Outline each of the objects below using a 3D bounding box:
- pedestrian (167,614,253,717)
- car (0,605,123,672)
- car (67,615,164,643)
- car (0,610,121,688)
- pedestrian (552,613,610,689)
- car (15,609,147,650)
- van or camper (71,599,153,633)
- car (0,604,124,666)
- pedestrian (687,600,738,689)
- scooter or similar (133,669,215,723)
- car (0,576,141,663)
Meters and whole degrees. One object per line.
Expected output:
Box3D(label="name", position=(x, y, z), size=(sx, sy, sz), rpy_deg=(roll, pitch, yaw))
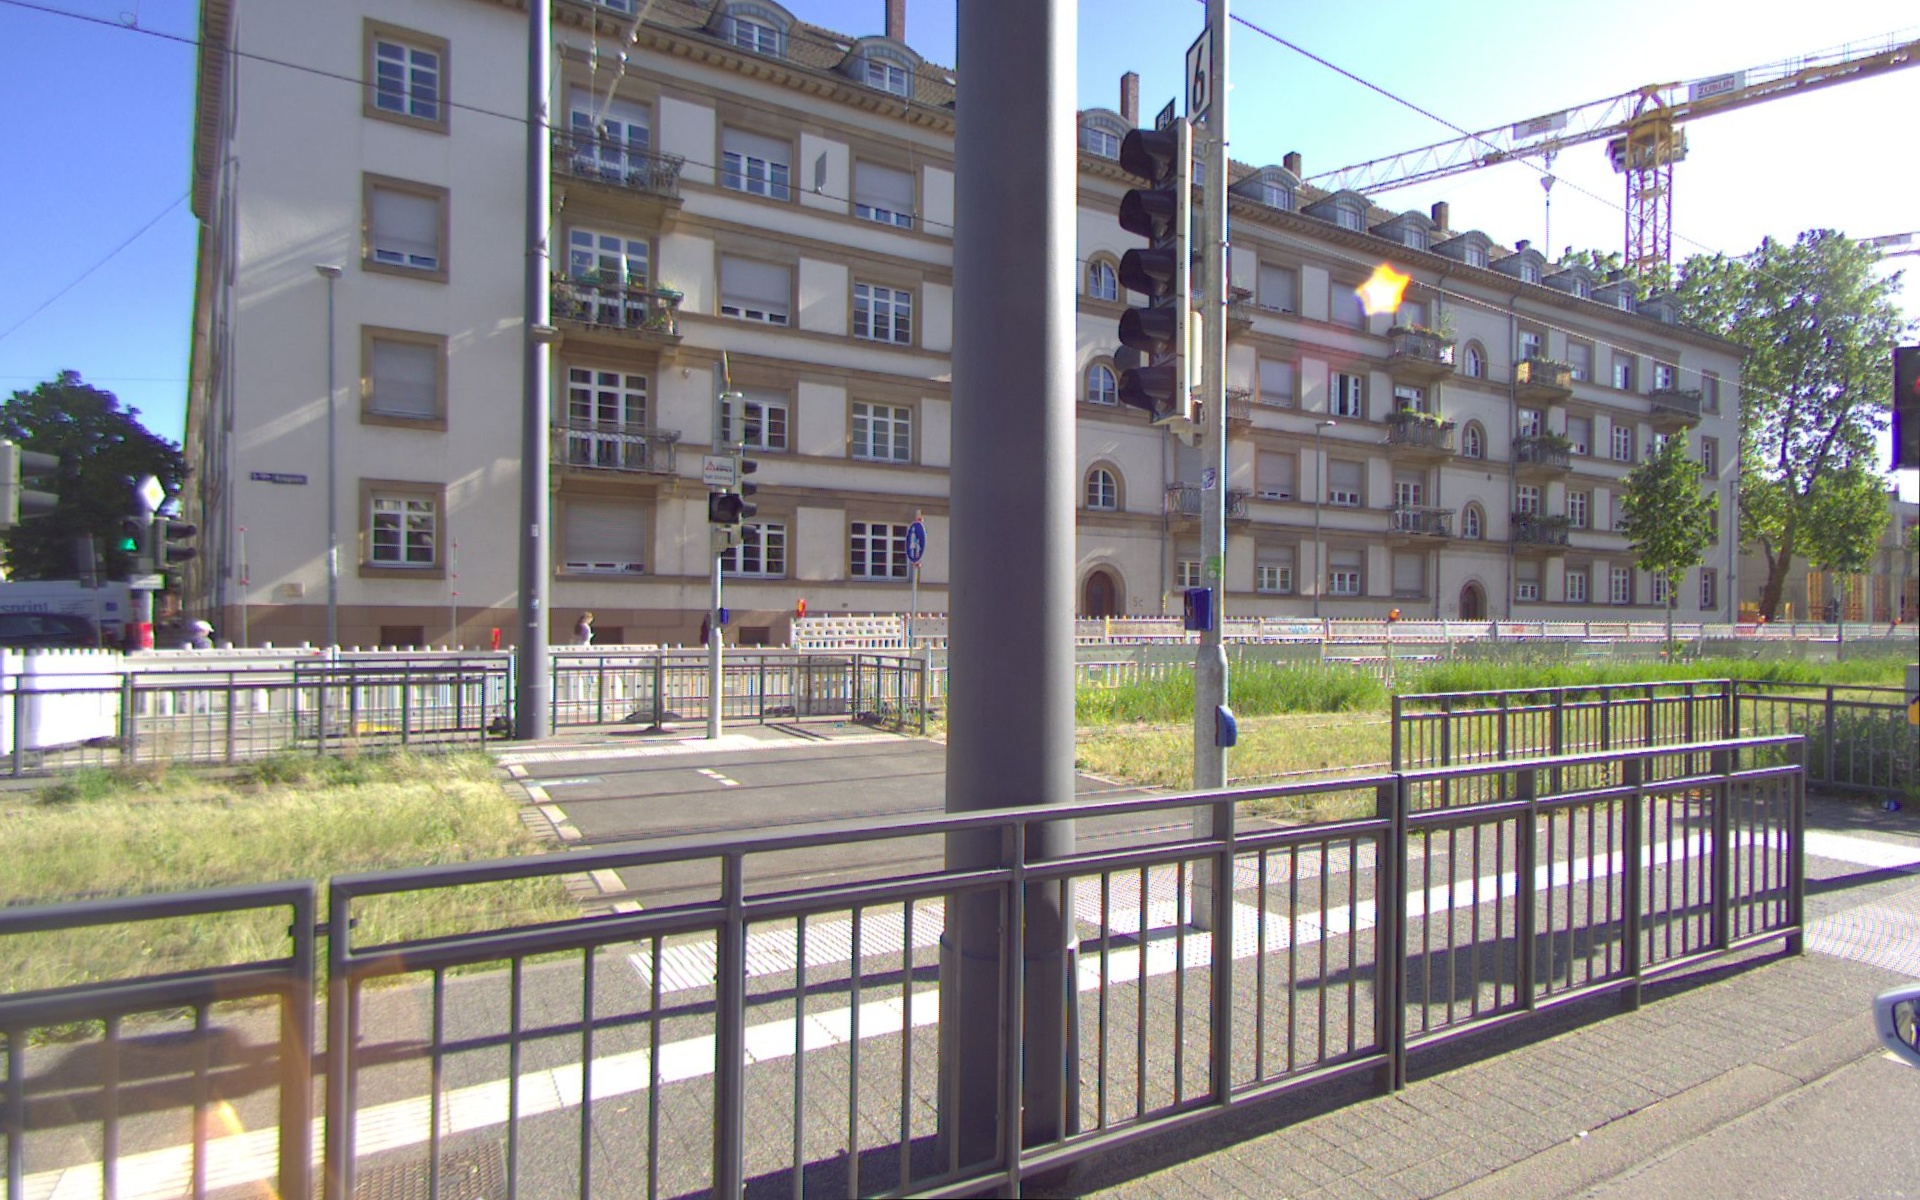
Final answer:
Box3D(label="pedestrian", position=(-11.385, 0.975, 15.277), size=(0.697, 1.524, 0.806), rpy_deg=(0, -1, -4))
Box3D(label="car", position=(-24.913, 1.001, 26.703), size=(3.965, 1.662, 1.849), rpy_deg=(2, 0, -38))
Box3D(label="car", position=(-46.185, 1.587, 55.041), size=(3.967, 1.449, 1.758), rpy_deg=(2, 0, -40))
Box3D(label="car", position=(-21.581, 1.082, 22.566), size=(3.959, 1.662, 1.851), rpy_deg=(2, 0, -34))
Box3D(label="pedestrian", position=(-7.969, 1.054, 21.123), size=(1.009, 1.538, 0.783), rpy_deg=(2, 0, -30))
Box3D(label="car", position=(-36.281, 1.235, 41.606), size=(3.965, 1.576, 1.848), rpy_deg=(2, 0, -39))
Box3D(label="van or camper", position=(-59.358, 1.120, 70.384), size=(4.311, 2.244, 1.930), rpy_deg=(2, 0, -40))
Box3D(label="car", position=(-26.293, 0.968, 28.412), size=(3.965, 1.662, 1.849), rpy_deg=(2, 0, -38))
Box3D(label="pedestrian", position=(-5.417, 0.951, 21.956), size=(0.861, 1.888, 0.763), rpy_deg=(2, 0, -30))
Box3D(label="scooter or similar", position=(-11.363, 1.382, 14.538), size=(0.697, 0.729, 0.607), rpy_deg=(0, -1, -3))
Box3D(label="car", position=(-28.148, 0.558, 29.971), size=(5.710, 2.487, 1.977), rpy_deg=(2, 0, -40))
